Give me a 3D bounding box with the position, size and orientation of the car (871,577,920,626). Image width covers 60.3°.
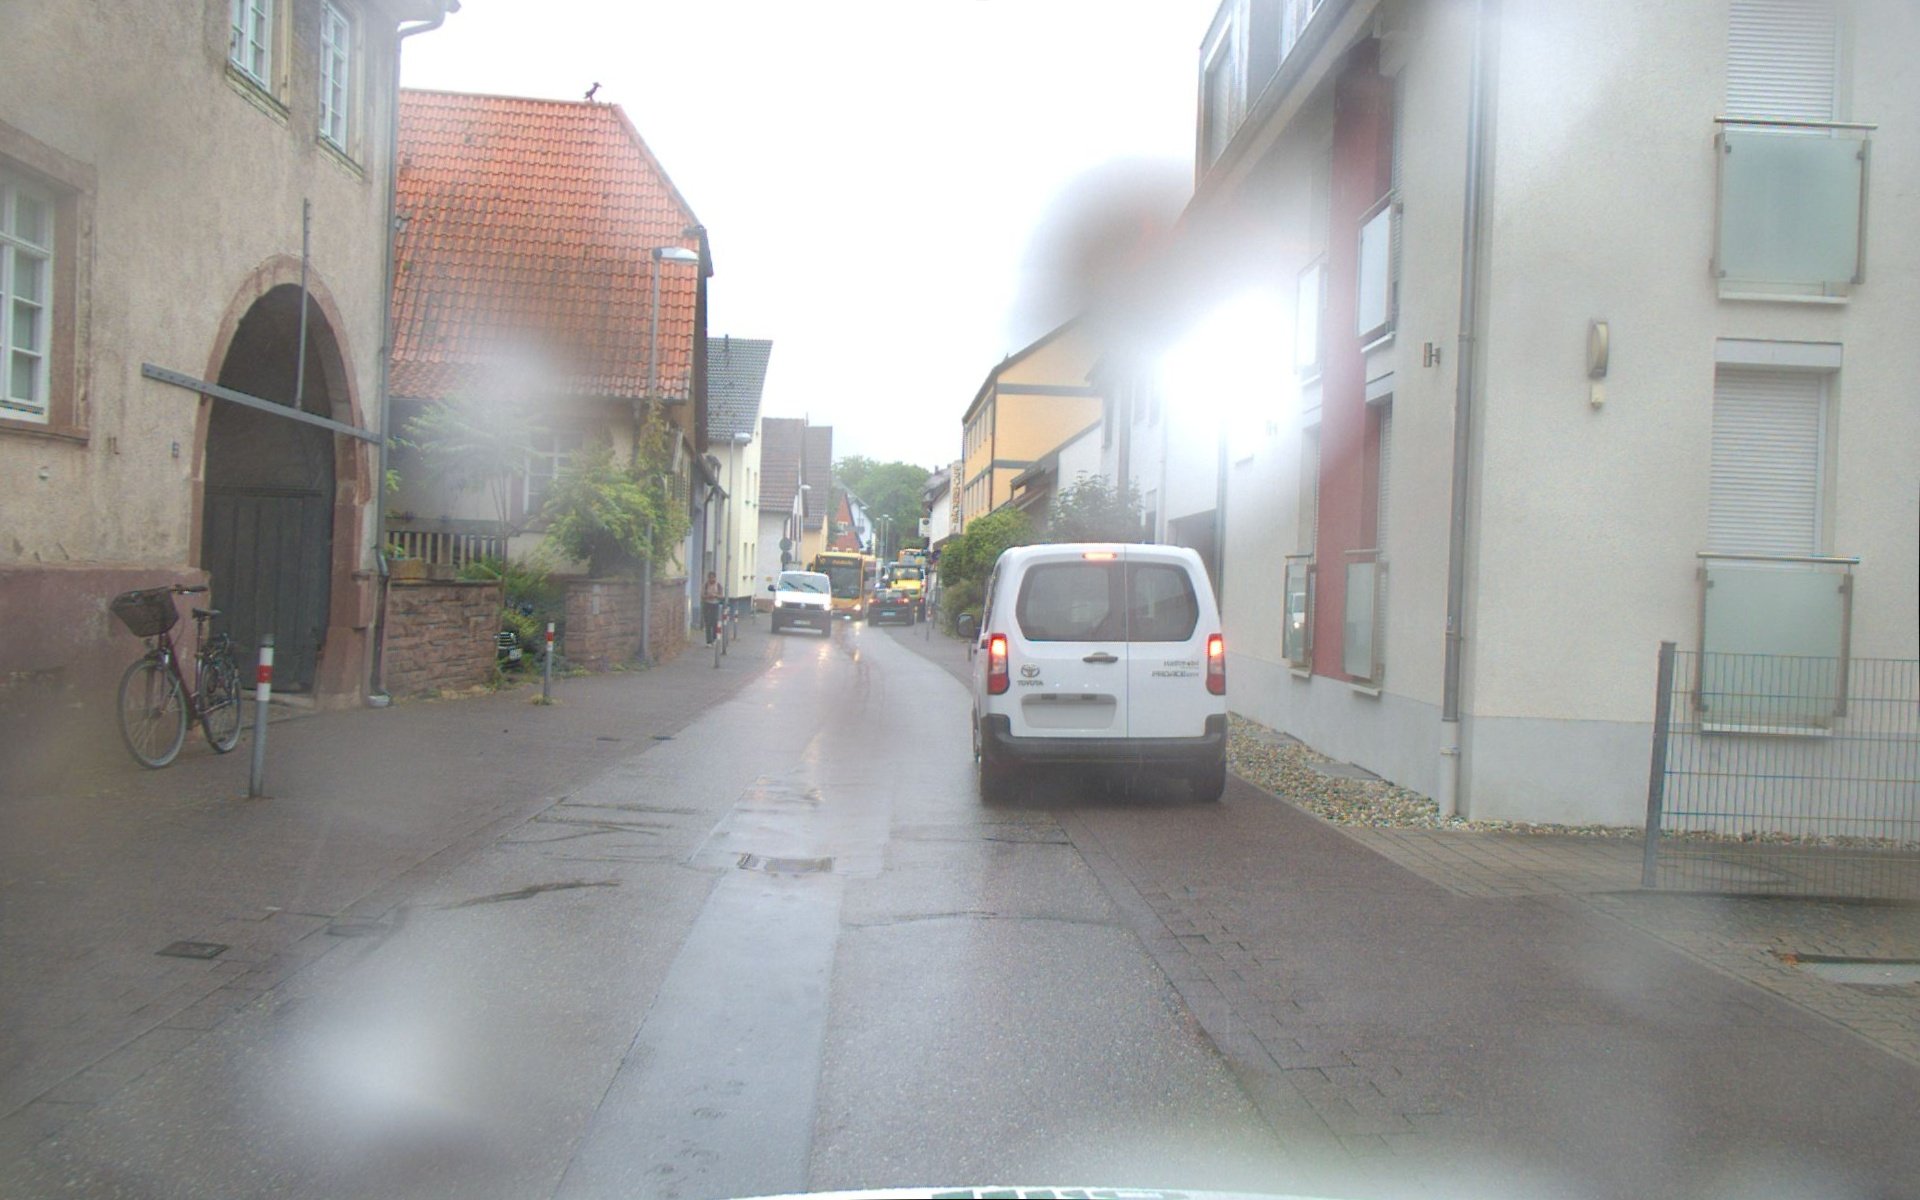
[{"bbox_3d":[-2.192,0.061,56.328,1.530,1.506,3.583,3,0,-2],"label":"car"}]

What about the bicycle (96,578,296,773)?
[{"bbox_3d":[-5.159,0.478,11.290,0.473,1.200,1.835,3,0,-1],"label":"bicycle"}]

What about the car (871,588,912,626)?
[{"bbox_3d":[-2.754,0.284,66.396,1.530,1.395,3.583,3,0,-2],"label":"car"}]

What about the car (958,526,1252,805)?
[{"bbox_3d":[0.971,0.448,13.076,1.759,1.850,4.099,0,0,-3],"label":"car"}]

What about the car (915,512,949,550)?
[{"bbox_3d":[-1.709,-4.189,101.323,1.953,2.049,3.999,3,0,-2],"label":"car"}]

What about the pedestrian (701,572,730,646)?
[{"bbox_3d":[-5.223,0.183,35.281,0.557,1.557,0.567,1,0,-12],"label":"pedestrian"}]

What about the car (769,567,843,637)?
[{"bbox_3d":[-4.812,0.068,52.121,1.854,2.001,4.722,3,0,-1],"label":"car"}]

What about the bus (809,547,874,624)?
[{"bbox_3d":[-5.727,-0.638,80.940,2.738,3.386,8.173,4,0,-3],"label":"bus"}]

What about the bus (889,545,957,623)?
[{"bbox_3d":[-1.801,-0.703,76.618,2.738,3.235,8.173,4,0,-3],"label":"bus"}]

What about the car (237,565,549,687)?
[{"bbox_3d":[-7.316,0.323,21.559,3.456,1.400,1.594,2,0,-1],"label":"car"}]

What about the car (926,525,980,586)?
[{"bbox_3d":[-0.289,-1.636,62.124,1.791,2.049,3.692,3,0,-3],"label":"car"}]

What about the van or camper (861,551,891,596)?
[{"bbox_3d":[-5.931,-1.831,116.891,1.798,2.976,5.361,3,0,-1],"label":"van or camper"}]
